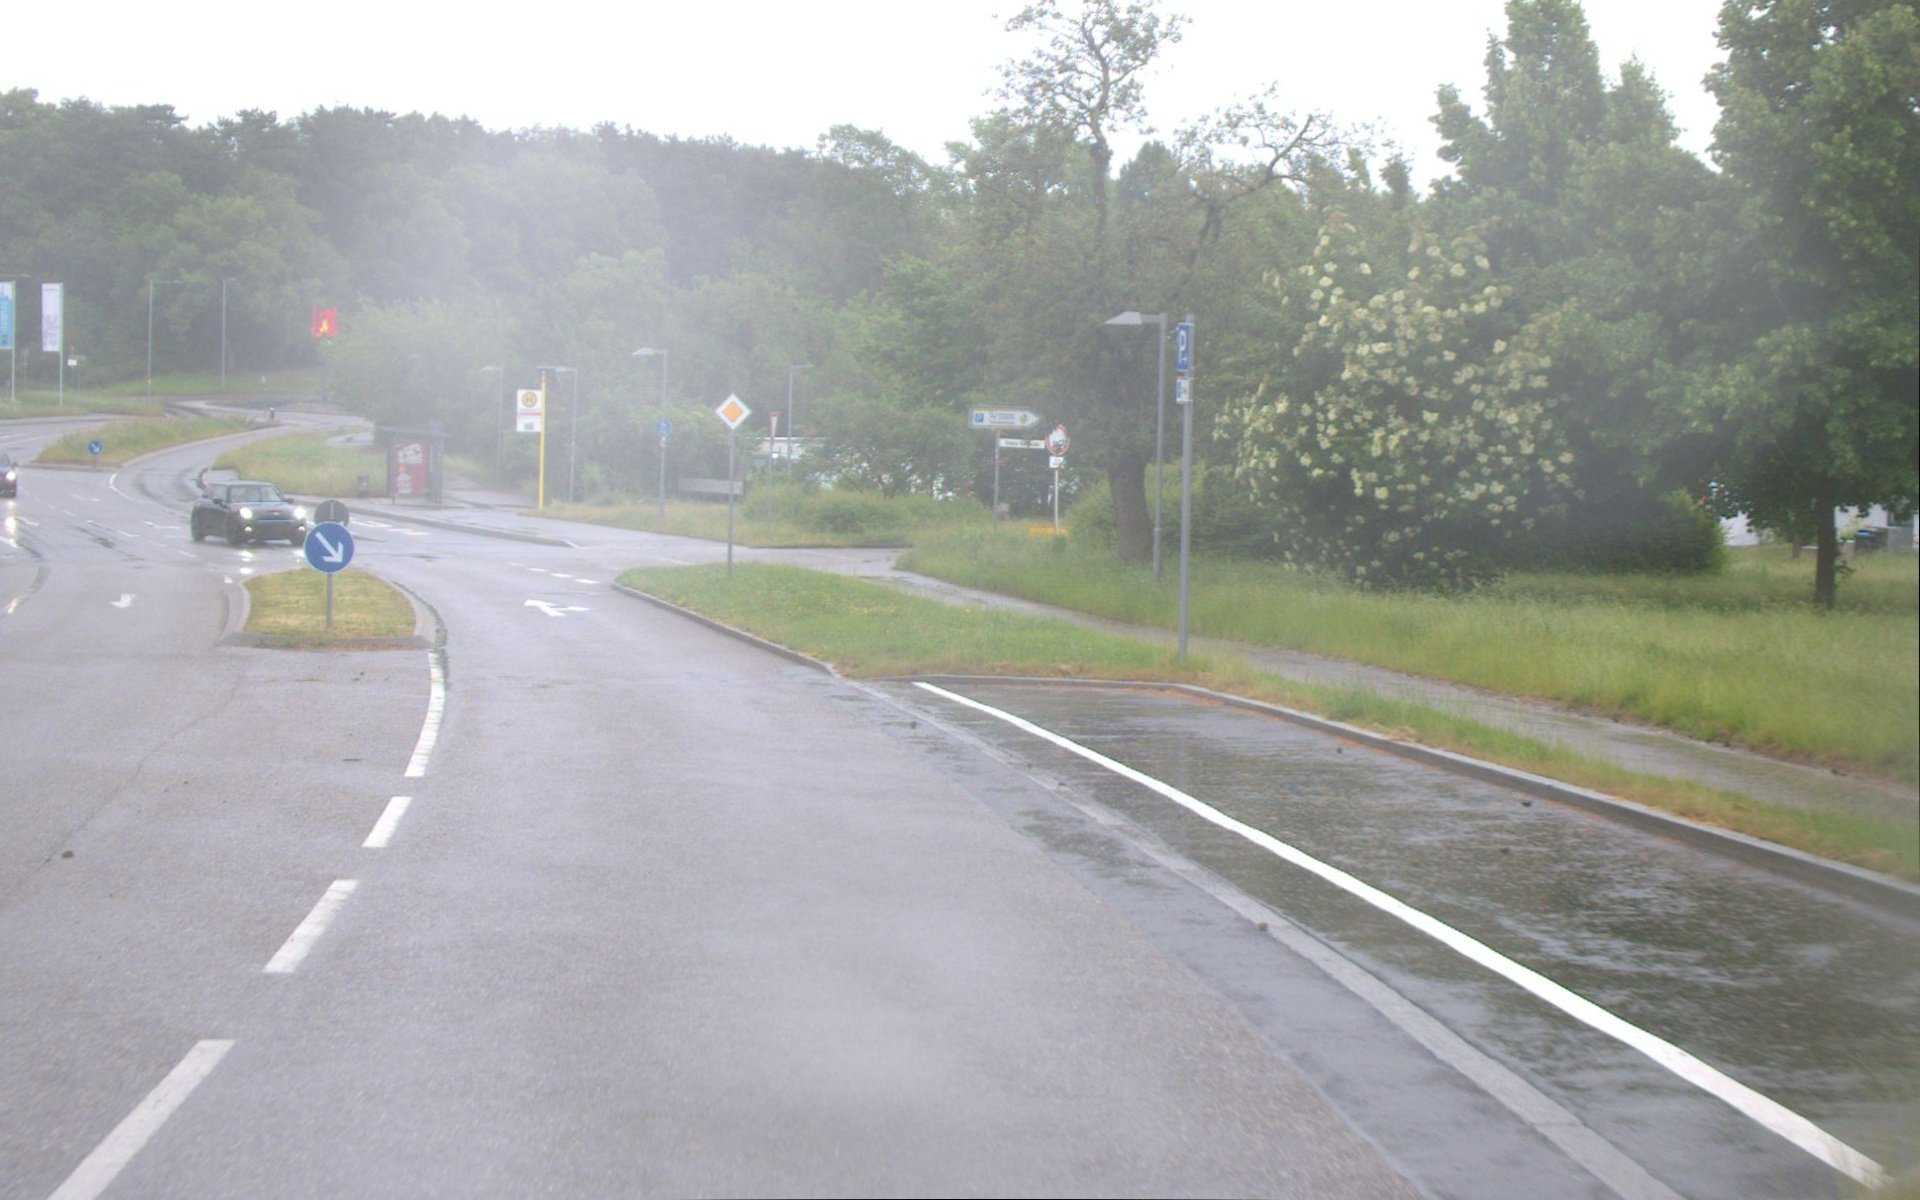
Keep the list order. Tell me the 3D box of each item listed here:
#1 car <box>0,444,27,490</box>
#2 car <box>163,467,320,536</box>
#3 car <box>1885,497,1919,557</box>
[{"bbox_3d":[-30.987,-4.255,109.912,1.967,1.409,4.417,-1,3,-18],"label":"car"},{"bbox_3d":[-16.418,-2.257,78.475,3.530,1.351,1.456,5,2,36],"label":"car"},{"bbox_3d":[29.458,-2.154,99.964,4.555,1.744,1.908,0,1,45],"label":"car"}]
